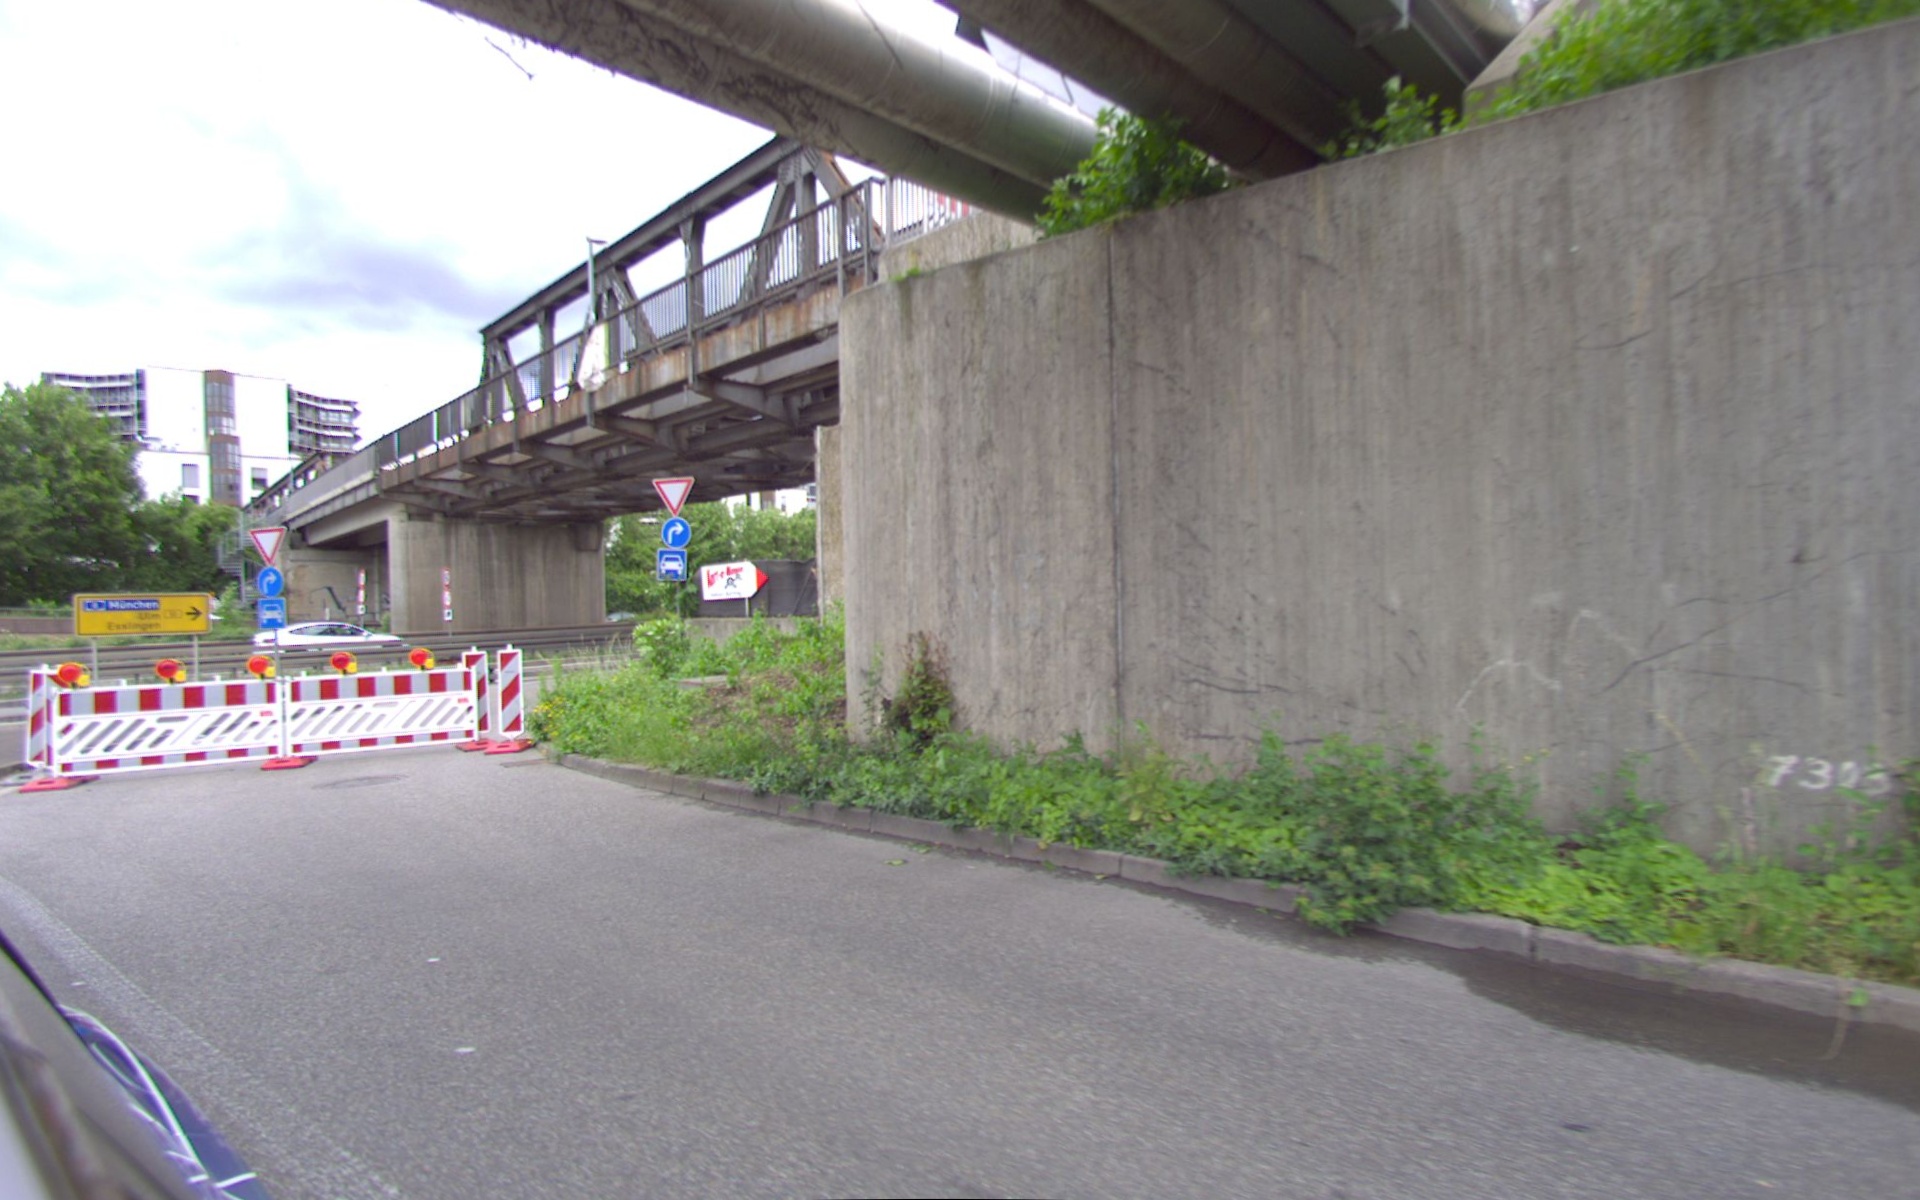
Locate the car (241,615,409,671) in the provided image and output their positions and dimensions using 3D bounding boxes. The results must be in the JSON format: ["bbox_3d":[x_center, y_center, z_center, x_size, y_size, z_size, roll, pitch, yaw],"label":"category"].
[{"bbox_3d":[-21.302,1.392,34.103,1.999,1.553,4.400,1,2,41],"label":"car"}]
